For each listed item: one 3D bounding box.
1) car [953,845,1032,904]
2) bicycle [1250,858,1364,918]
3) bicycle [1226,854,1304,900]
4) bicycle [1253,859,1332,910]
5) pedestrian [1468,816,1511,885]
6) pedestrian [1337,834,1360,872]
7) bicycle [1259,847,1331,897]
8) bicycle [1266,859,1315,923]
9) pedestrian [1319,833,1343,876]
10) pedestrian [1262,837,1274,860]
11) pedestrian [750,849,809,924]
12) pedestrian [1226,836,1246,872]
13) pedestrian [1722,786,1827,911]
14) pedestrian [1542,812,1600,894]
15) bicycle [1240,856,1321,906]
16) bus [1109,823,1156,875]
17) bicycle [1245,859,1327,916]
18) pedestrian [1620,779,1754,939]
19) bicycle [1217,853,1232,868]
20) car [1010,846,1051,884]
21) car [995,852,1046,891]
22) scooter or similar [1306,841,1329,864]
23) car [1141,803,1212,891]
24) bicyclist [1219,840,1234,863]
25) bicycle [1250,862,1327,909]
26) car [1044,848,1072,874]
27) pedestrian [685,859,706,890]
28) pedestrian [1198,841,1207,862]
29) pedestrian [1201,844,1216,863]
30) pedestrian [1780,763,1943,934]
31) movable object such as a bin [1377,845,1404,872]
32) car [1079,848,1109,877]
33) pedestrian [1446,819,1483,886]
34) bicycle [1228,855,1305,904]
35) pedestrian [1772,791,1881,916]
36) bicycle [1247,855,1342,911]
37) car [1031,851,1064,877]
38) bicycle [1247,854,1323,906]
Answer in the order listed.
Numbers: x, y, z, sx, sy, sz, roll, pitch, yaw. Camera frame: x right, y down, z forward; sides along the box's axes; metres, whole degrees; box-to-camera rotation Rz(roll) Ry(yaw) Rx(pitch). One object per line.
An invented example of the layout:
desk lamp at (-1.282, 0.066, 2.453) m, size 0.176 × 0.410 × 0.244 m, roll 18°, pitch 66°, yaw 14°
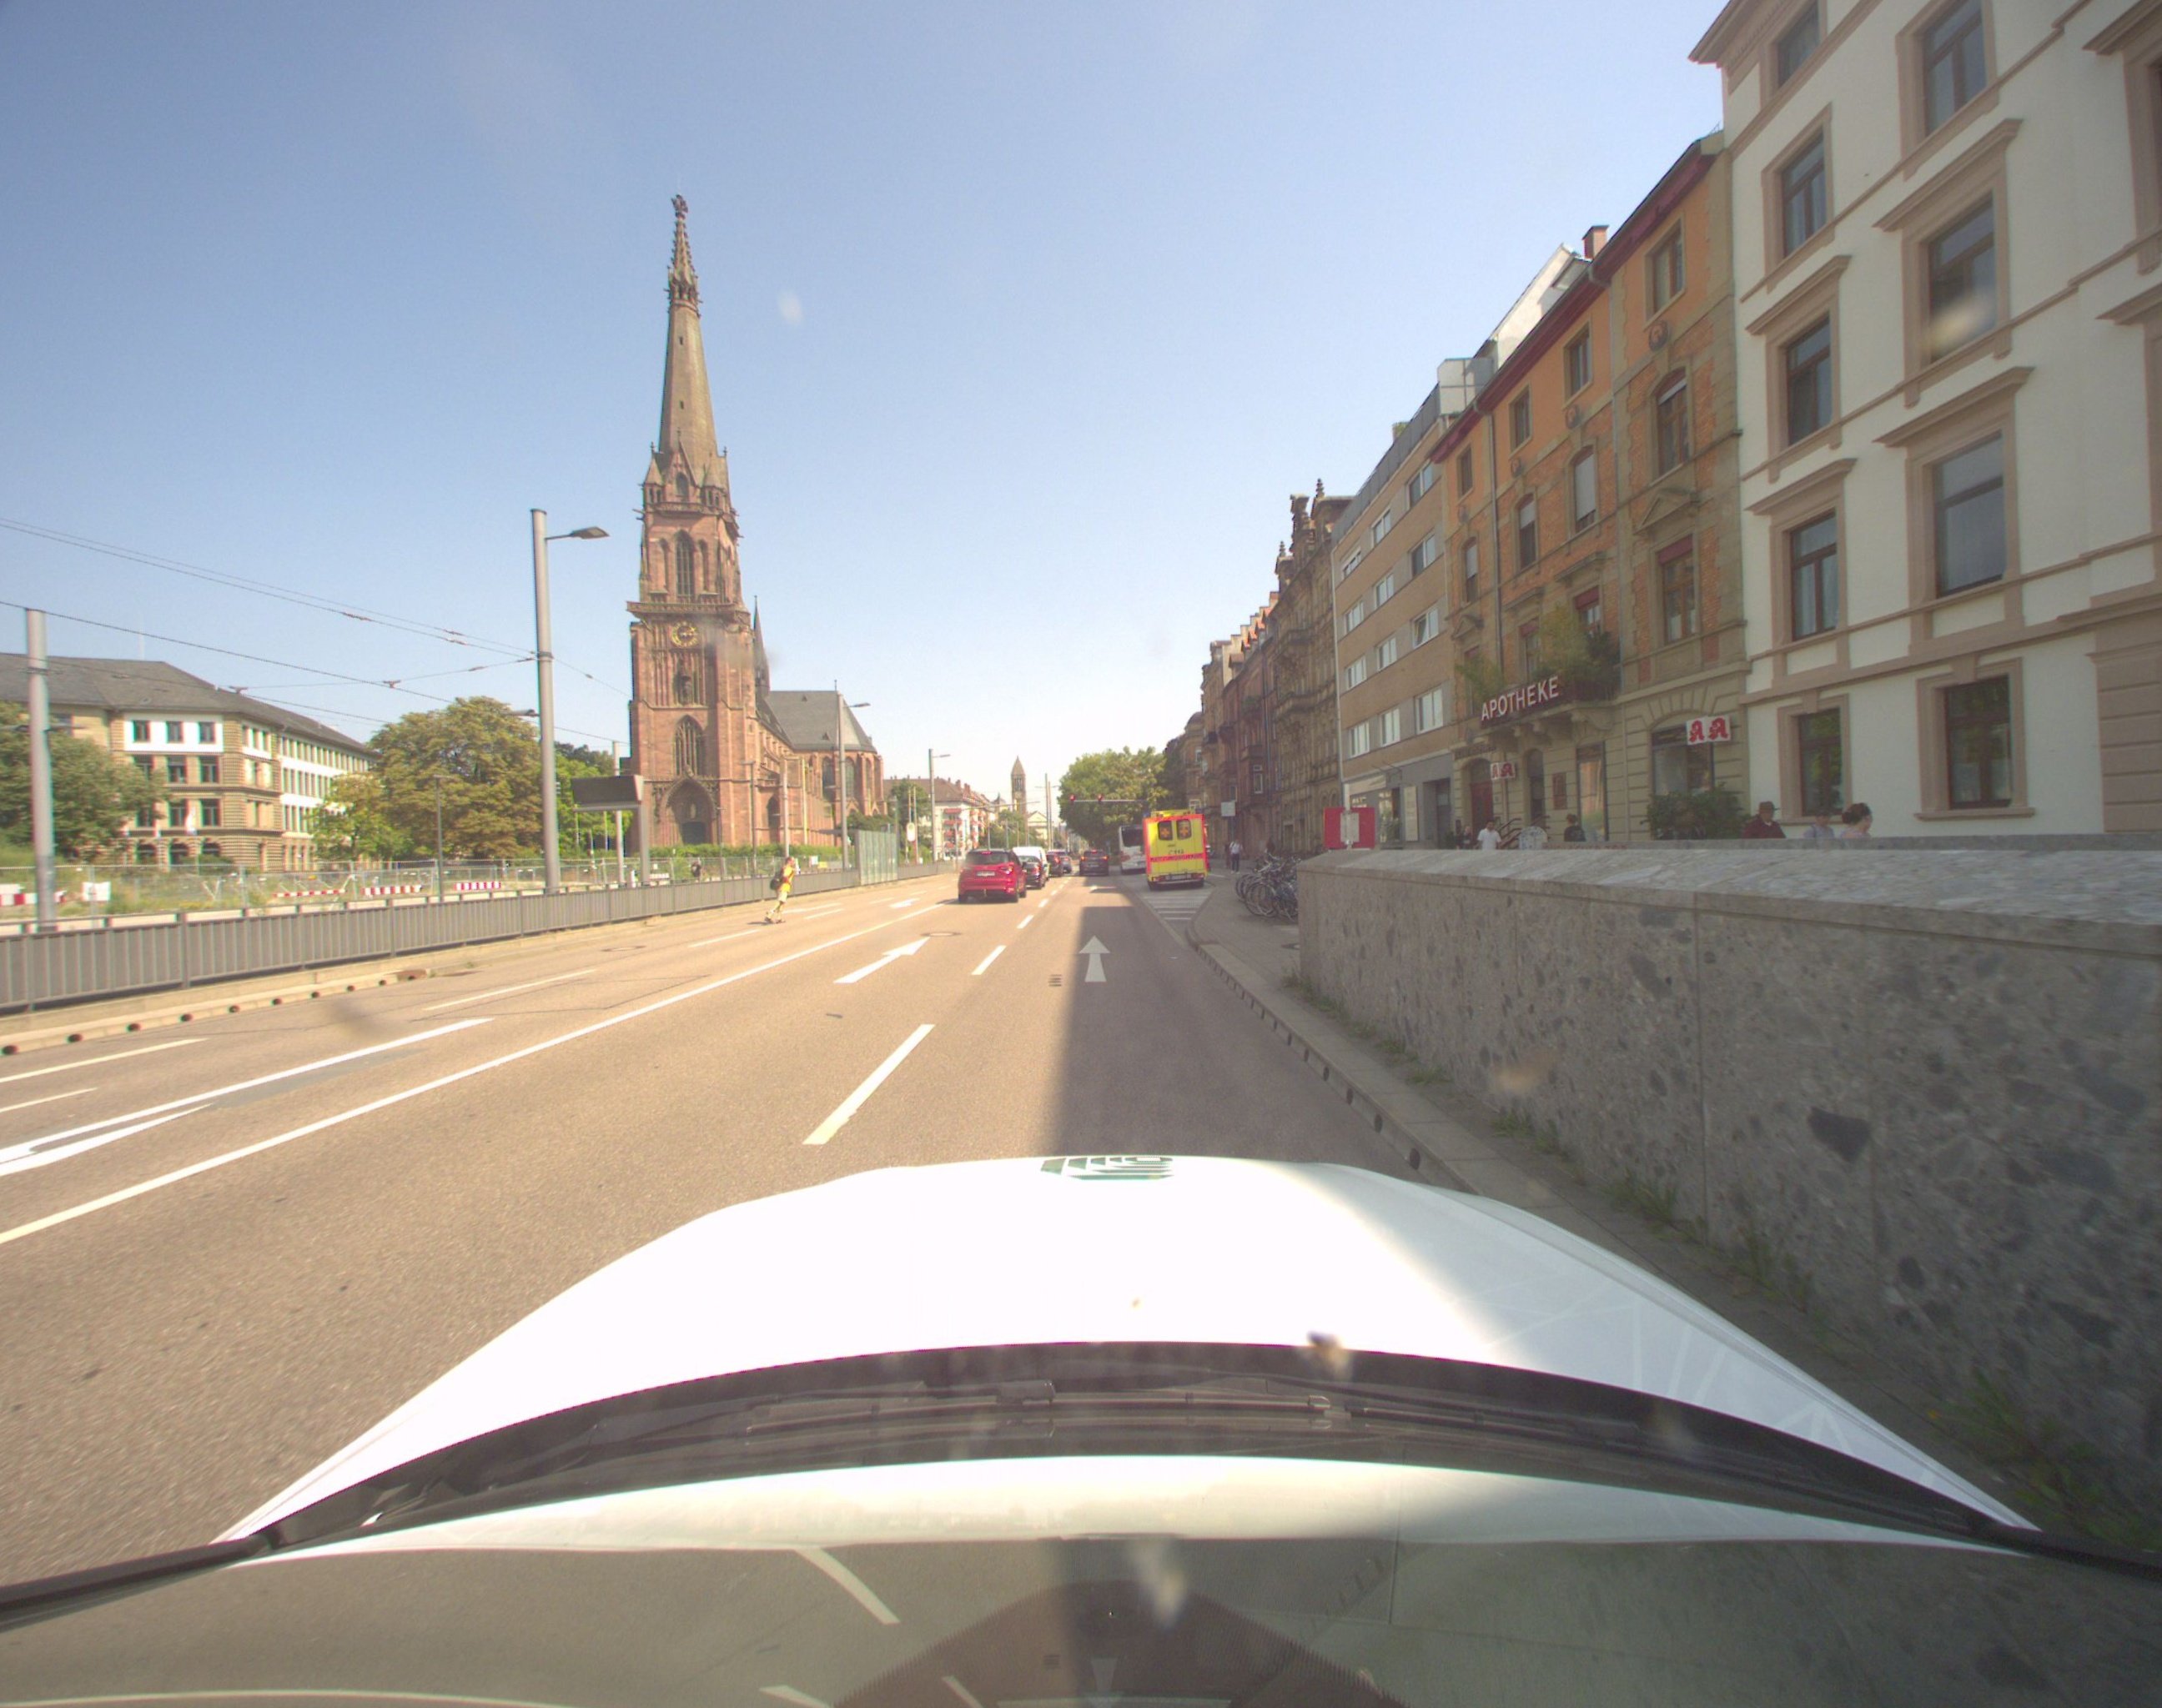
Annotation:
car at (-2.666, 0.582, 25.360) m, size 1.755 × 1.618 × 4.085 m, roll -2°, pitch 0°, yaw 3°
bicycle at (4.362, 0.648, 15.739) m, size 2.116 × 1.071 × 0.381 m, roll -2°, pitch 1°, yaw -4°
bicycle at (4.476, 0.556, 19.926) m, size 1.768 × 1.072 × 0.645 m, roll -2°, pitch 0°, yaw 5°
bicycle at (4.404, 0.629, 17.000) m, size 1.532 × 1.016 × 0.365 m, roll -1°, pitch 1°, yaw 0°
pedestrian at (11.038, -0.089, 22.039) m, size 0.597 × 1.795 × 0.880 m, roll -5°, pitch 0°, yaw 1°
pedestrian at (10.705, -0.034, 32.606) m, size 0.641 × 1.493 × 0.789 m, roll -2°, pitch 0°, yaw 0°
bicycle at (5.436, 0.458, 20.732) m, size 1.665 × 1.215 × 0.645 m, roll -2°, pitch 0°, yaw 6°
bicycle at (3.753, 0.637, 14.665) m, size 0.474 × 1.071 × 1.506 m, roll -3°, pitch 0°, yaw 1°
pedestrian at (10.002, 0.023, 32.625) m, size 0.641 × 1.685 × 0.789 m, roll -2°, pitch 0°, yaw 0°
pedestrian at (13.339, -0.375, 58.018) m, size 0.621 × 1.593 × 0.695 m, roll -3°, pitch 0°, yaw -5°
pedestrian at (-7.349, 0.783, 19.861) m, size 0.753 × 1.752 × 1.076 m, roll -3°, pitch -1°, yaw 39°
pedestrian at (7.251, -0.015, 38.110) m, size 0.690 × 1.667 × 0.606 m, roll -2°, pitch 0°, yaw 27°
pedestrian at (10.369, -0.092, 12.210) m, size 0.681 × 1.773 × 1.018 m, roll -2°, pitch 1°, yaw 0°
pedestrian at (11.523, -0.033, 19.164) m, size 0.840 × 1.846 × 0.684 m, roll -4°, pitch 0°, yaw -8°
bicycle at (4.498, 0.603, 18.428) m, size 1.652 × 1.071 × 0.644 m, roll -1°, pitch 1°, yaw 0°
bus at (3.351, -0.334, 55.838) m, size 2.525 × 3.031 × 12.438 m, roll -2°, pitch 0°, yaw 1°
bicycle at (4.058, 0.653, 16.158) m, size 1.532 × 1.071 × 0.365 m, roll -1°, pitch 1°, yaw 0°
pedestrian at (7.035, 0.039, 9.504) m, size 0.845 × 1.728 × 0.973 m, roll -3°, pitch 2°, yaw 7°
bicycle at (8.767, 0.389, 49.829) m, size 0.587 × 0.854 × 1.775 m, roll -3°, pitch 0°, yaw 0°
car at (-2.547, 0.569, 41.719) m, size 1.784 × 1.780 × 3.999 m, roll -2°, pitch -1°, yaw 0°
car at (-2.435, 0.681, 33.683) m, size 1.785 × 1.431 × 3.999 m, roll -2°, pitch 0°, yaw -1°
scooter or similar at (12.597, -0.089, 43.442) m, size 0.514 × 1.196 × 1.296 m, roll -2°, pitch 0°, yaw -18°
car at (3.520, -0.285, 30.860) m, size 2.288 × 2.888 × 5.607 m, roll -3°, pitch 0°, yaw 5°
bicyclist at (8.891, -0.149, 49.782) m, size 0.750 × 1.321 × 0.582 m, roll -2°, pitch 0°, yaw 0°
bicycle at (4.426, 0.671, 17.374) m, size 1.532 × 0.952 × 0.365 m, roll -1°, pitch 1°, yaw 0°
car at (-1.582, 0.500, 57.580) m, size 1.784 × 1.698 × 3.999 m, roll -2°, pitch -1°, yaw 0°
pedestrian at (-22.547, 1.195, 47.618) m, size 0.826 × 1.752 × 0.721 m, roll -2°, pitch -1°, yaw 1°
pedestrian at (10.062, -0.191, 67.411) m, size 0.694 × 1.667 × 0.603 m, roll -2°, pitch 0°, yaw 3°
pedestrian at (12.856, -0.042, 82.064) m, size 1.244 × 1.751 × 1.527 m, roll -2°, pitch 2°, yaw 1°
pedestrian at (7.807, -0.056, 8.164) m, size 0.856 × 1.582 × 0.961 m, roll -2°, pitch 0°, yaw -33°
movable object such as a bin at (12.429, 0.167, 32.686) m, size 0.651 × 1.047 × 0.755 m, roll -3°, pitch 0°, yaw -42°
car at (0.782, 0.538, 51.393) m, size 1.784 × 1.677 × 3.999 m, roll -2°, pitch -1°, yaw 0°
pedestrian at (10.418, -0.044, 22.132) m, size 0.575 × 1.750 × 0.679 m, roll -5°, pitch 0°, yaw 1°
bicycle at (4.349, 0.593, 19.190) m, size 1.652 × 1.072 × 0.644 m, roll -2°, pitch 0°, yaw 0°
pedestrian at (11.177, -0.018, 12.244) m, size 0.681 × 1.773 × 1.018 m, roll -2°, pitch 1°, yaw 0°
bicycle at (4.341, 0.590, 16.599) m, size 1.829 × 1.071 × 0.365 m, roll -1°, pitch 1°, yaw 0°
car at (-2.022, 0.604, 50.062) m, size 1.784 × 1.472 × 3.999 m, roll -2°, pitch -1°, yaw 0°
bicycle at (4.437, 0.566, 17.792) m, size 1.532 × 1.071 × 0.472 m, roll -1°, pitch 1°, yaw 0°
